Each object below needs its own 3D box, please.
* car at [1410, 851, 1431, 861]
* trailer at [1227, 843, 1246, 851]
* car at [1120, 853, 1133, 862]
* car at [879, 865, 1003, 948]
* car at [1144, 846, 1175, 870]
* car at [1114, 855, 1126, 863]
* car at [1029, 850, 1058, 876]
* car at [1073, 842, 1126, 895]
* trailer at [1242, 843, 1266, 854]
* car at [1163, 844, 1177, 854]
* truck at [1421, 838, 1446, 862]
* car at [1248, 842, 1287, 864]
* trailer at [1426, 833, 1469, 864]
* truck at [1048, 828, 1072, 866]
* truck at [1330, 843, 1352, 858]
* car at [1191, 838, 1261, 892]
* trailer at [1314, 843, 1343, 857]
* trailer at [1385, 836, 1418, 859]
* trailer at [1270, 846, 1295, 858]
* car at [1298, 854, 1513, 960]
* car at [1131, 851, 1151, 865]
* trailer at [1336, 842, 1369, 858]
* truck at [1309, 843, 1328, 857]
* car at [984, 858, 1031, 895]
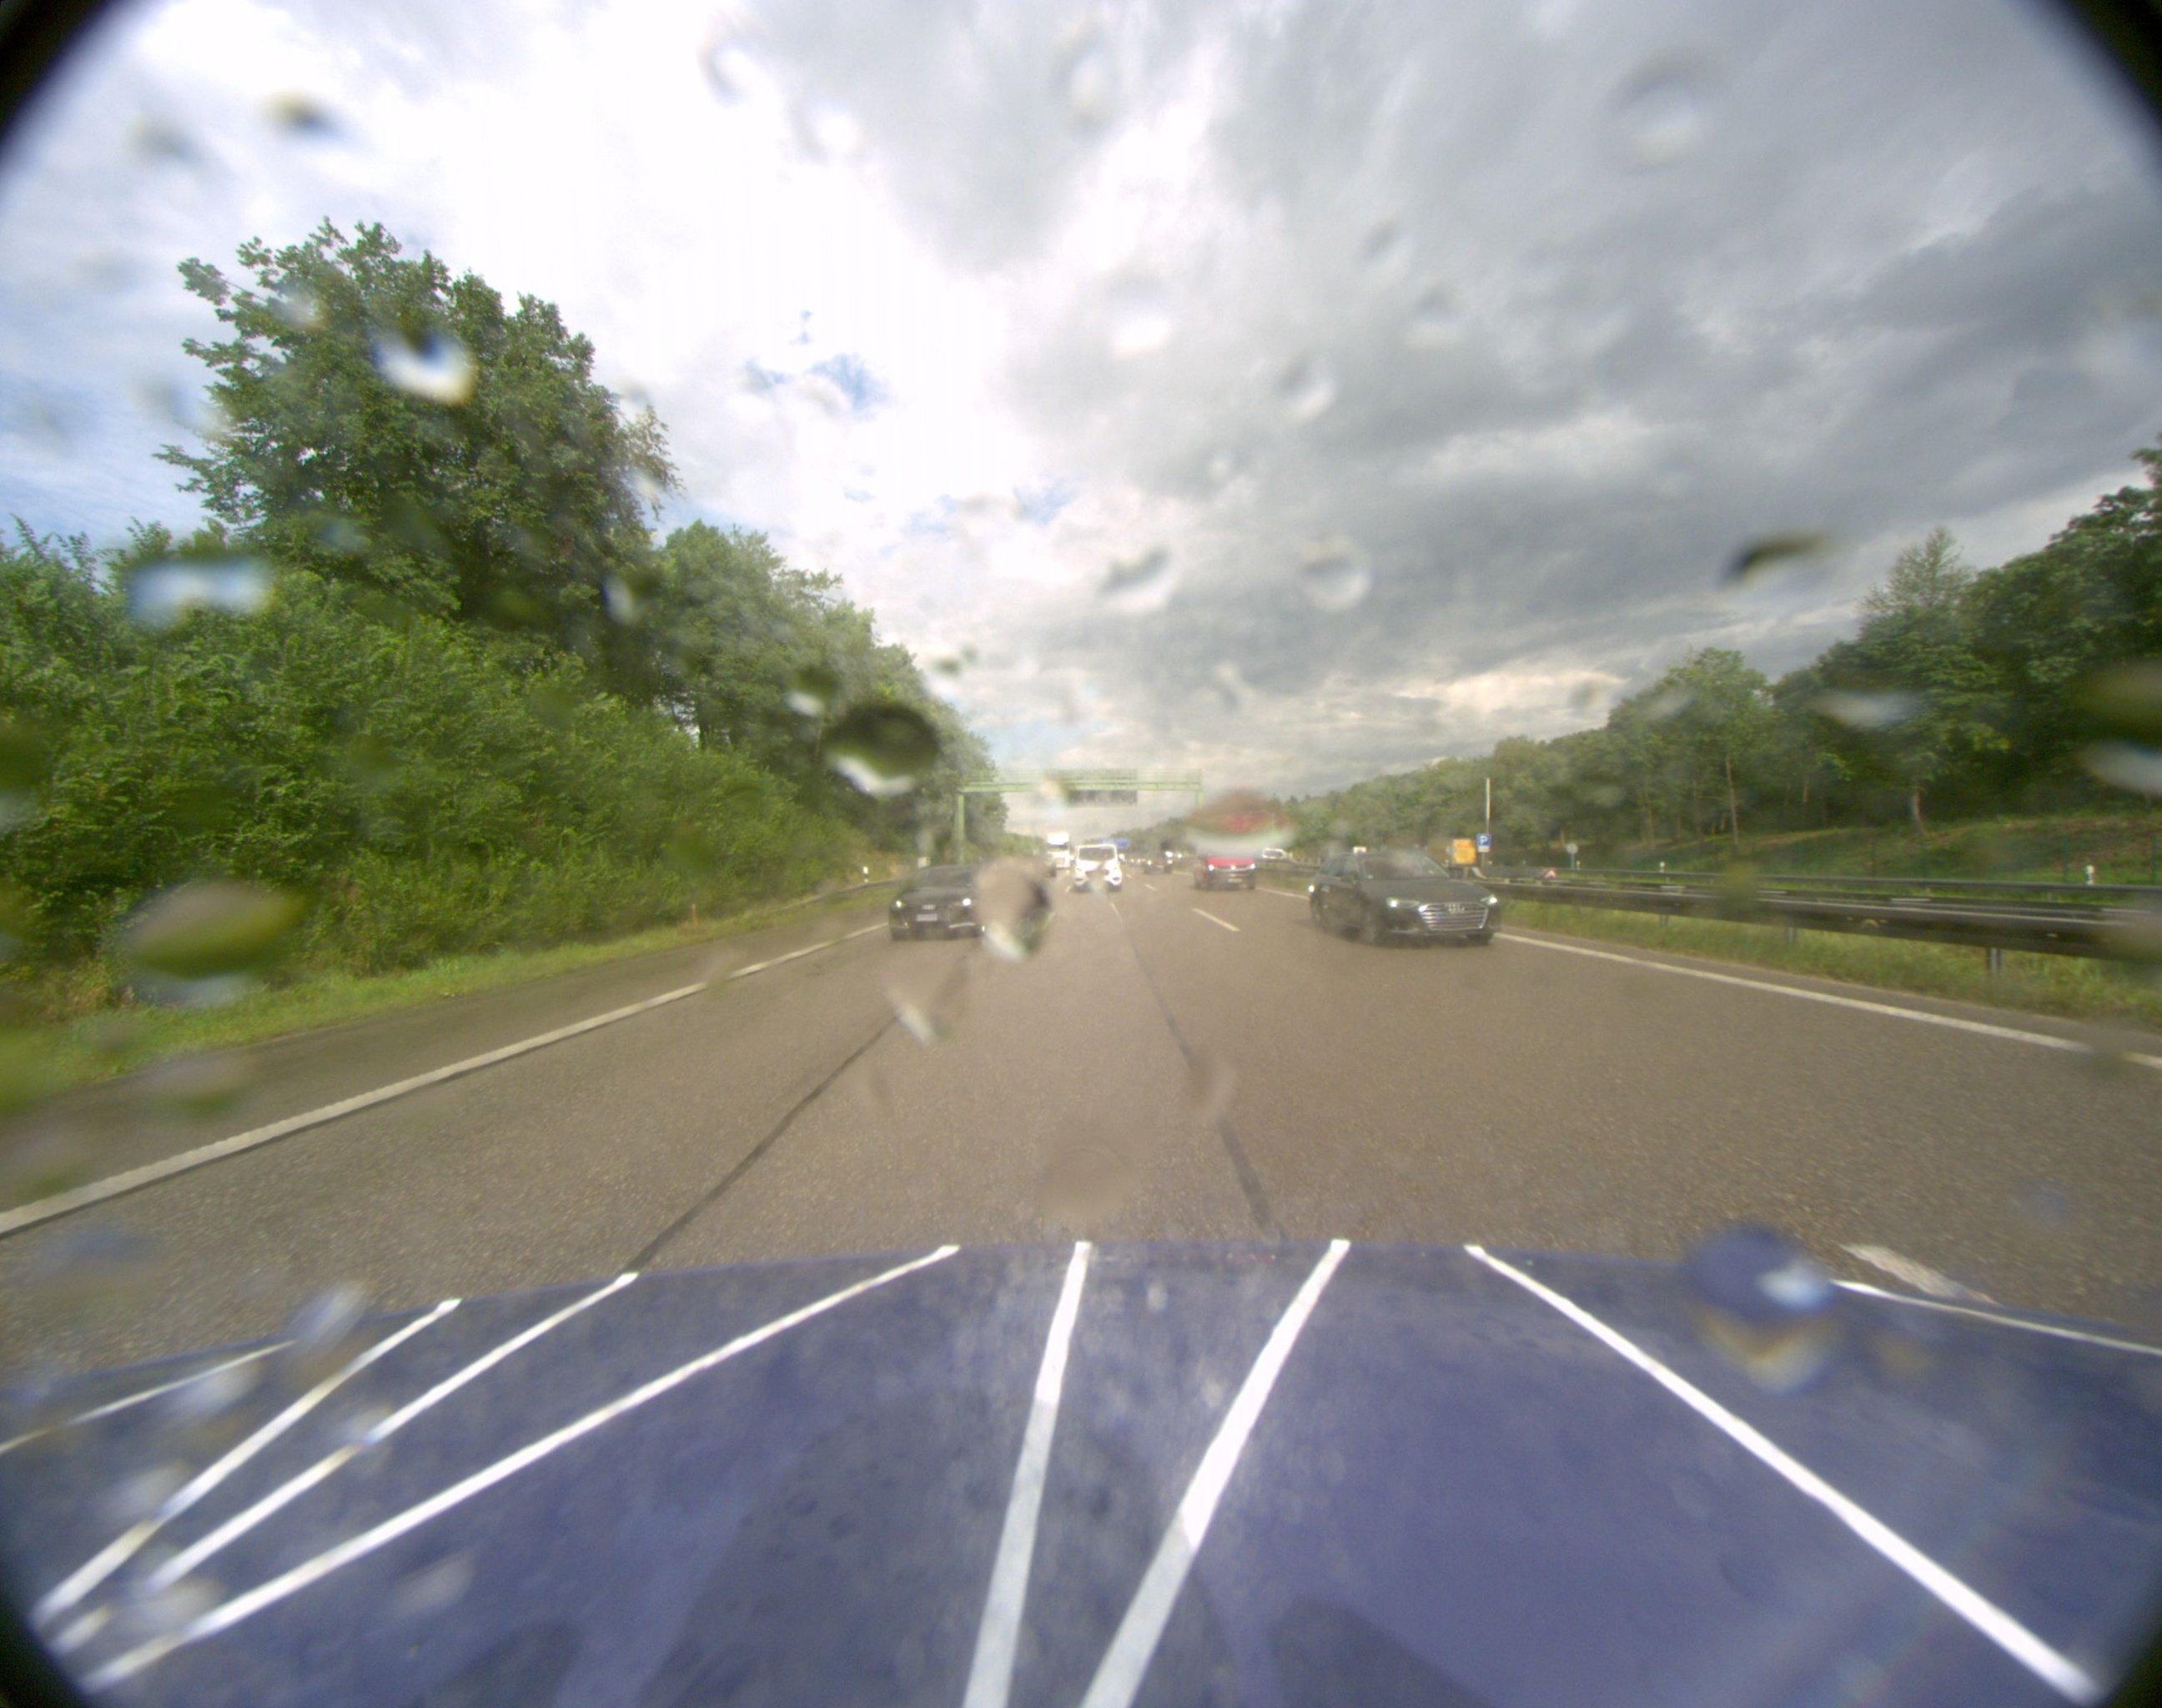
[{"bbox_3d":[51.708,0.350,115.790,1.898,1.494,4.002,0,0,8],"label":"car"},{"bbox_3d":[52.924,-2.363,258.939,2.537,2.559,9.869,-2,1,-11],"label":"trailer"},{"bbox_3d":[7.000,0.566,116.958,1.675,1.228,4.000,-2,0,0],"label":"car"},{"bbox_3d":[-2.794,1.002,16.138,1.759,1.388,4.368,-2,0,0],"label":"car"},{"bbox_3d":[5.913,0.296,57.574,1.895,1.660,4.294,-2,0,0],"label":"car"},{"bbox_3d":[6.603,0.784,128.676,1.888,1.228,4.506,-2,0,0],"label":"car"},{"bbox_3d":[-2.767,0.631,57.560,1.831,1.793,5.305,-1,0,0],"label":"car"},{"bbox_3d":[0.719,0.565,32.114,1.985,1.973,5.168,-2,0,0],"label":"car"},{"bbox_3d":[54.079,-1.802,238.516,3.086,3.252,13.401,0,0,-6],"label":"trailer"},{"bbox_3d":[16.348,-0.892,139.223,1.998,1.823,4.619,-3,0,1],"label":"car"},{"bbox_3d":[48.869,-0.599,105.412,1.979,3.080,5.080,-2,1,13],"label":"truck"},{"bbox_3d":[15.040,-0.091,61.545,1.913,1.669,4.968,0,0,0],"label":"car"},{"bbox_3d":[47.210,-0.763,98.263,1.997,3.673,13.669,-2,1,13],"label":"trailer"},{"bbox_3d":[-2.339,-0.811,86.502,2.460,4.079,5.332,-2,0,0],"label":"truck"},{"bbox_3d":[57.481,-0.802,168.119,3.049,3.165,5.597,0,0,2],"label":"truck"},{"bbox_3d":[5.739,0.403,30.732,1.895,1.973,4.750,-2,0,0],"label":"car"},{"bbox_3d":[58.119,-0.947,178.789,2.611,3.252,12.647,0,0,0],"label":"trailer"},{"bbox_3d":[53.521,-1.046,127.097,2.187,3.579,11.726,0,0,8],"label":"trailer"},{"bbox_3d":[56.685,-0.655,213.747,3.193,3.252,12.644,0,0,-2],"label":"trailer"},{"bbox_3d":[5.181,0.741,12.867,1.723,1.403,4.467,-2,0,0],"label":"car"},{"bbox_3d":[6.655,0.415,85.255,1.895,1.557,4.053,-2,0,0],"label":"car"},{"bbox_3d":[57.145,-0.774,160.329,3.026,3.174,12.175,0,0,2],"label":"trailer"},{"bbox_3d":[58.148,-0.987,186.457,2.582,3.232,6.535,0,1,0],"label":"truck"},{"bbox_3d":[-3.140,0.938,33.060,1.655,1.447,3.744,-2,0,-1],"label":"car"}]
